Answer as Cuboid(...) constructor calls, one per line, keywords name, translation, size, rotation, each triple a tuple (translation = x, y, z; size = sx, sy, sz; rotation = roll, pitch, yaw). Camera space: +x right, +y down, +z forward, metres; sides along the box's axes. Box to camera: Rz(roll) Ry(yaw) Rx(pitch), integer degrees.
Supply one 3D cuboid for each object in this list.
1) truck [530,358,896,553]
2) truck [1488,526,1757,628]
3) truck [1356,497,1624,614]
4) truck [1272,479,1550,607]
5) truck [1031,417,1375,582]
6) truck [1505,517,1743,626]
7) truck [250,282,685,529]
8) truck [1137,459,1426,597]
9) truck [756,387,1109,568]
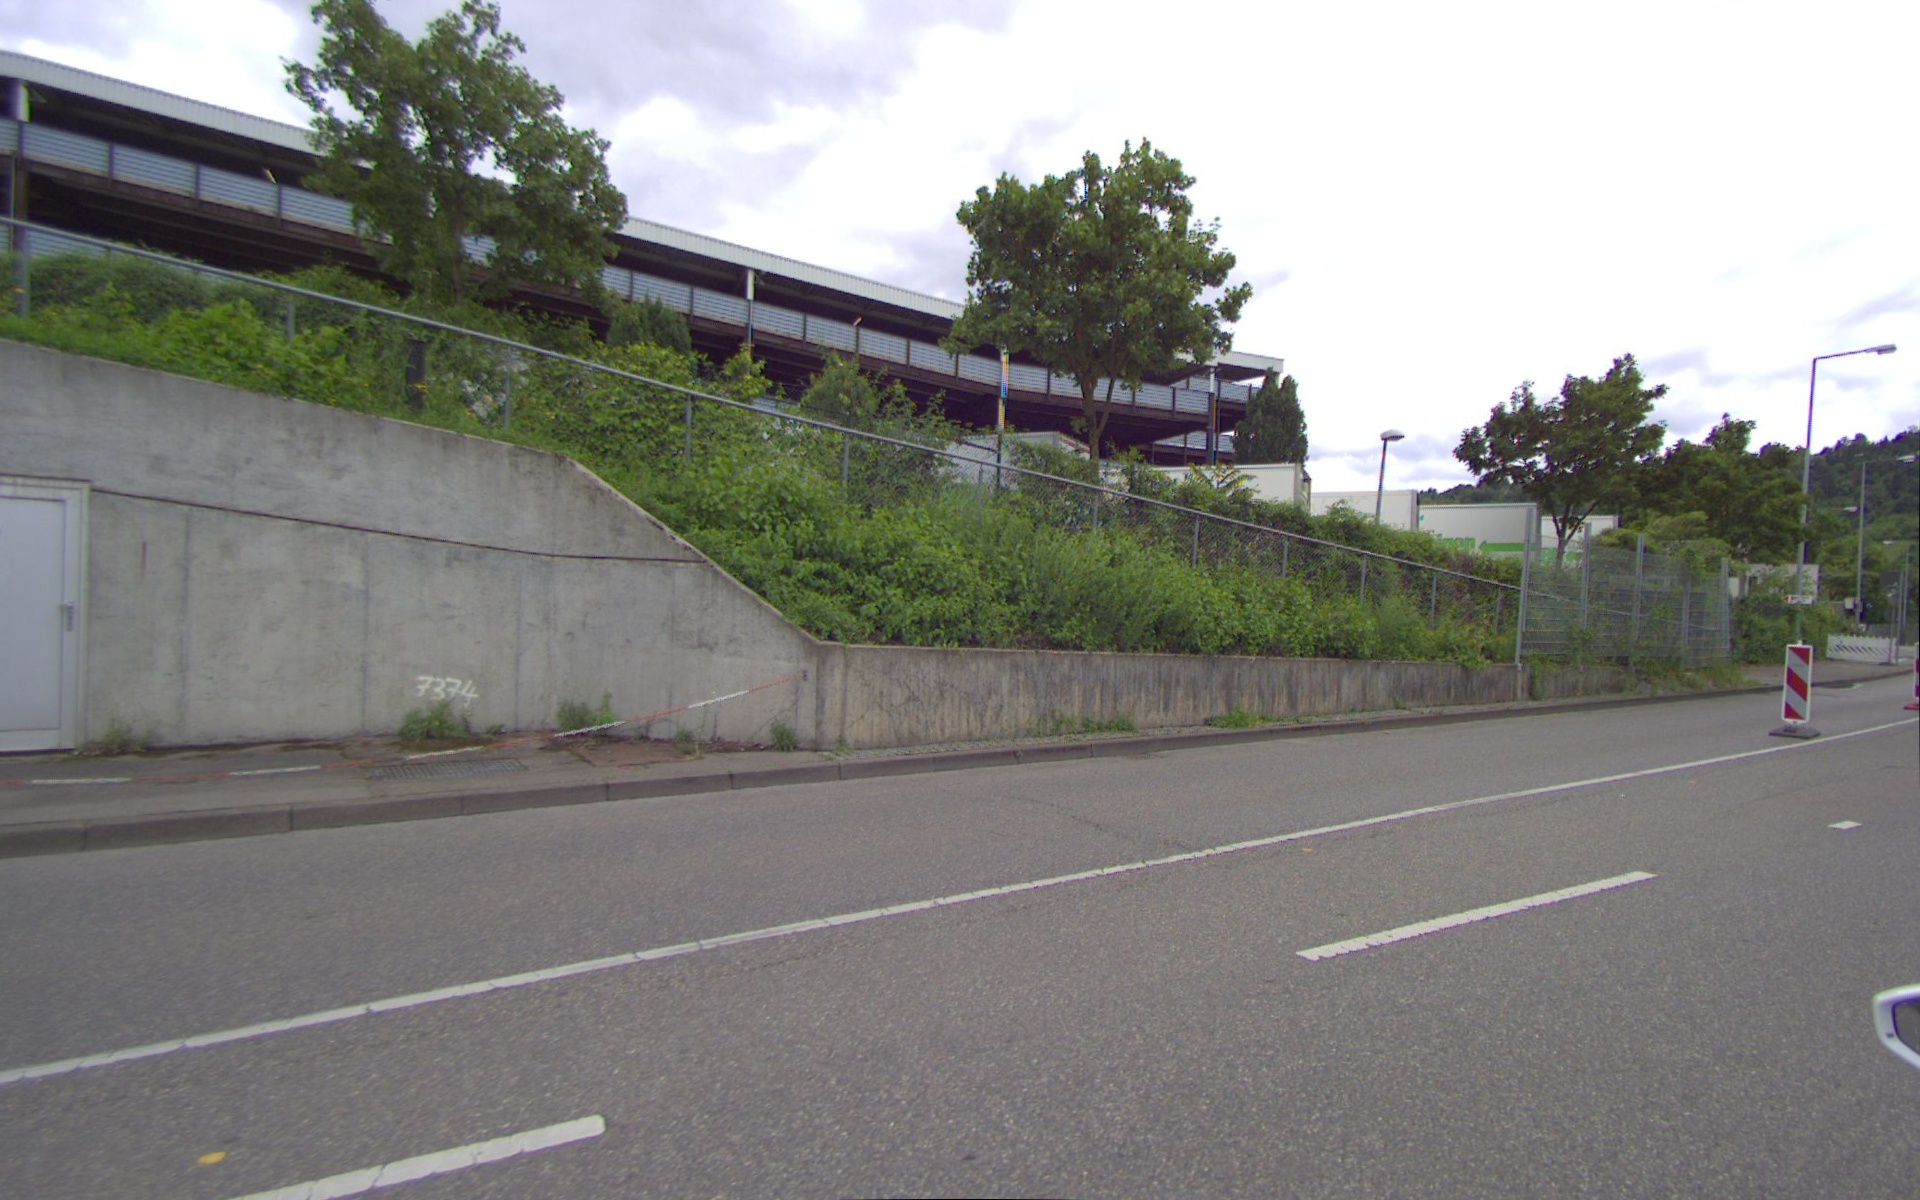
Cuboid(name="truck", translation=(-5.657, -3.106, 22.774), size=(7.719, 3.584, 3.050), rotation=(3, -1, 26))
Cuboid(name="truck", translation=(29.286, -1.070, 44.827), size=(9.518, 4.043, 3.035), rotation=(3, 0, 44))
Cuboid(name="truck", translation=(18.116, -1.584, 34.814), size=(7.722, 3.584, 3.049), rotation=(3, -1, 28))
Cuboid(name="truck", translation=(14.398, -1.824, 32.294), size=(7.727, 3.584, 3.047), rotation=(3, -1, 31))
Cuboid(name="truck", translation=(6.222, -2.529, 25.971), size=(8.002, 3.584, 3.050), rotation=(3, -1, 26))
Cuboid(name="truck", translation=(27.379, -1.206, 41.673), size=(7.752, 4.043, 3.037), rotation=(3, 0, 42))
Cuboid(name="truck", translation=(-9.298, -3.352, 18.838), size=(7.719, 3.584, 3.050), rotation=(3, -1, 26))
Cuboid(name="truck", translation=(9.560, -2.133, 30.010), size=(7.719, 3.584, 3.050), rotation=(3, -1, 26))
Cuboid(name="truck", translation=(-0.713, -2.799, 24.026), size=(7.719, 3.584, 3.050), rotation=(3, -1, 26))
